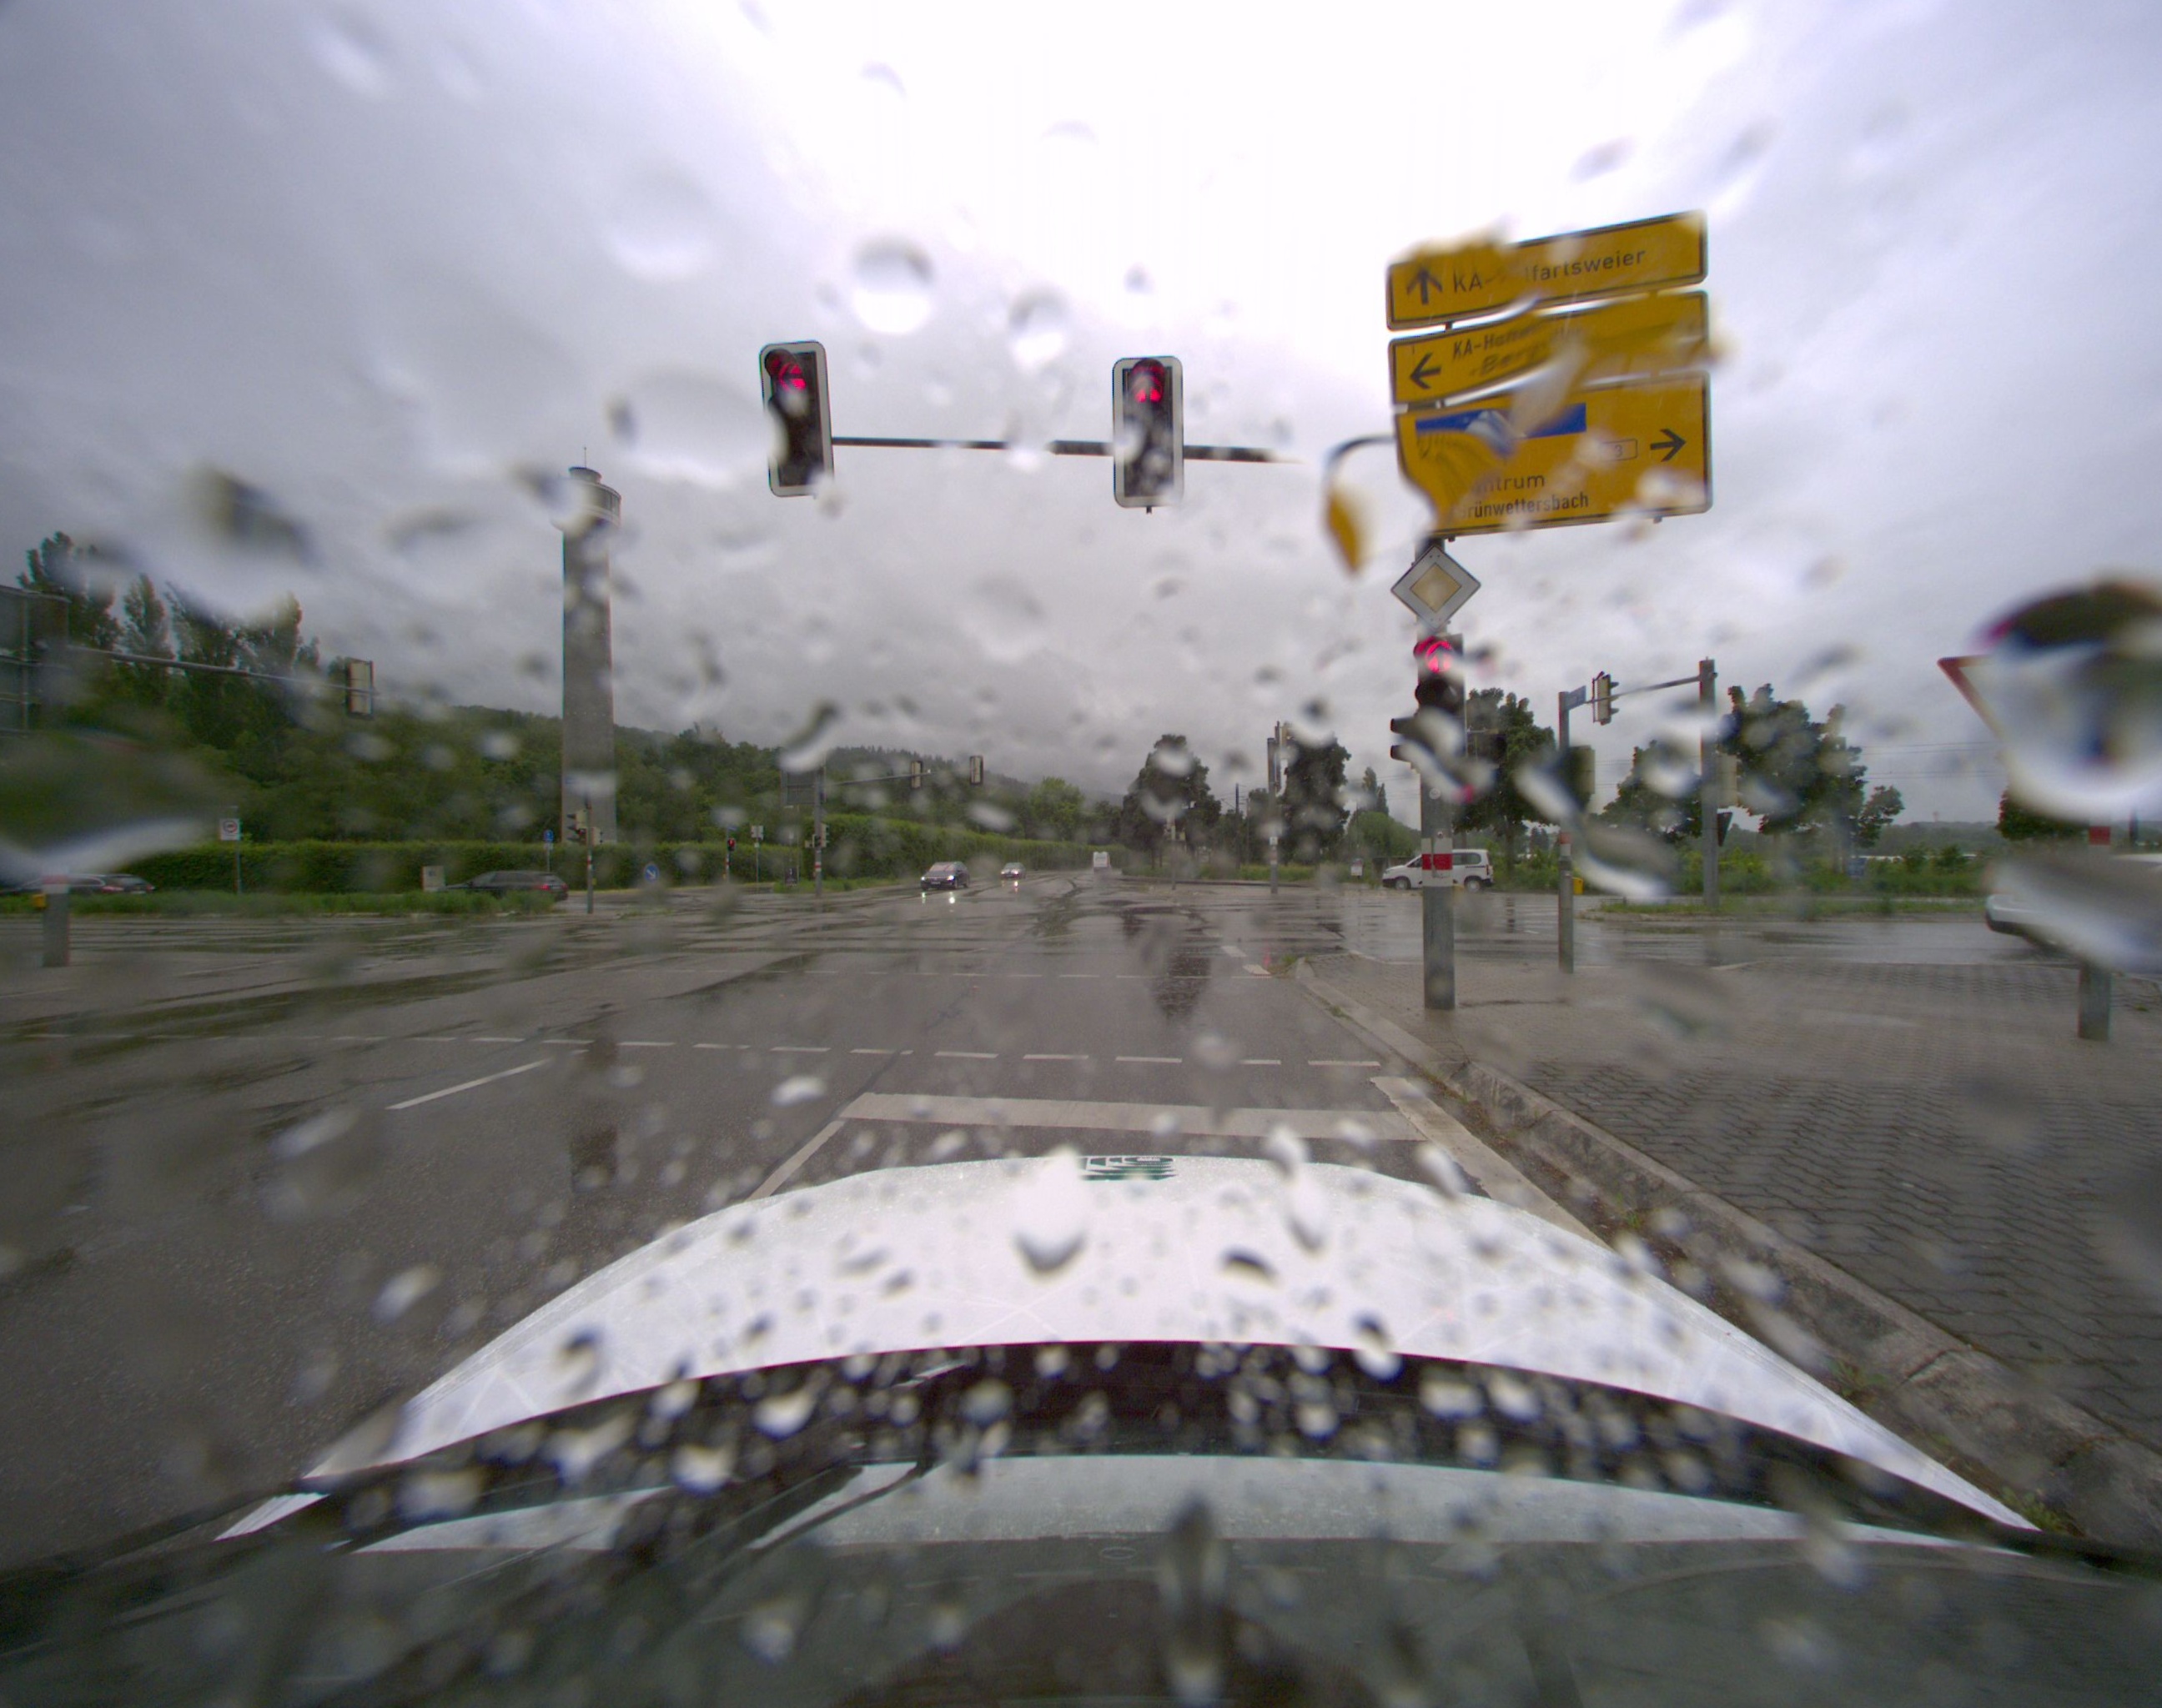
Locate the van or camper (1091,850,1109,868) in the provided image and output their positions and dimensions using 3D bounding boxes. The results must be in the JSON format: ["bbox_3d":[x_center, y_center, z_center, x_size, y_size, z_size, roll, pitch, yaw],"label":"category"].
[{"bbox_3d":[2.508,0.626,106.705,2.145,2.169,4.867,-1,0,2],"label":"van or camper"}]

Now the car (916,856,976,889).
[{"bbox_3d":[-7.213,0.941,44.028,1.869,1.573,4.654,-3,0,7],"label":"car"}]

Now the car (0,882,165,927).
[{"bbox_3d":[-38.811,1.963,31.661,4.646,1.553,1.825,-1,0,5],"label":"car"}]

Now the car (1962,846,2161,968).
[{"bbox_3d":[15.750,0.663,11.211,4.853,1.553,1.804,-1,0,9],"label":"car"}]

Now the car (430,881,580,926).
[{"bbox_3d":[-22.155,1.906,31.426,4.644,1.553,1.826,-1,0,7],"label":"car"}]

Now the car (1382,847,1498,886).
[{"bbox_3d":[15.036,0.518,34.152,4.293,1.553,1.834,-1,0,28],"label":"car"}]

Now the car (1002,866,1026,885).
[{"bbox_3d":[-5.517,1.766,67.344,1.552,1.481,3.363,-1,0,2],"label":"car"}]
